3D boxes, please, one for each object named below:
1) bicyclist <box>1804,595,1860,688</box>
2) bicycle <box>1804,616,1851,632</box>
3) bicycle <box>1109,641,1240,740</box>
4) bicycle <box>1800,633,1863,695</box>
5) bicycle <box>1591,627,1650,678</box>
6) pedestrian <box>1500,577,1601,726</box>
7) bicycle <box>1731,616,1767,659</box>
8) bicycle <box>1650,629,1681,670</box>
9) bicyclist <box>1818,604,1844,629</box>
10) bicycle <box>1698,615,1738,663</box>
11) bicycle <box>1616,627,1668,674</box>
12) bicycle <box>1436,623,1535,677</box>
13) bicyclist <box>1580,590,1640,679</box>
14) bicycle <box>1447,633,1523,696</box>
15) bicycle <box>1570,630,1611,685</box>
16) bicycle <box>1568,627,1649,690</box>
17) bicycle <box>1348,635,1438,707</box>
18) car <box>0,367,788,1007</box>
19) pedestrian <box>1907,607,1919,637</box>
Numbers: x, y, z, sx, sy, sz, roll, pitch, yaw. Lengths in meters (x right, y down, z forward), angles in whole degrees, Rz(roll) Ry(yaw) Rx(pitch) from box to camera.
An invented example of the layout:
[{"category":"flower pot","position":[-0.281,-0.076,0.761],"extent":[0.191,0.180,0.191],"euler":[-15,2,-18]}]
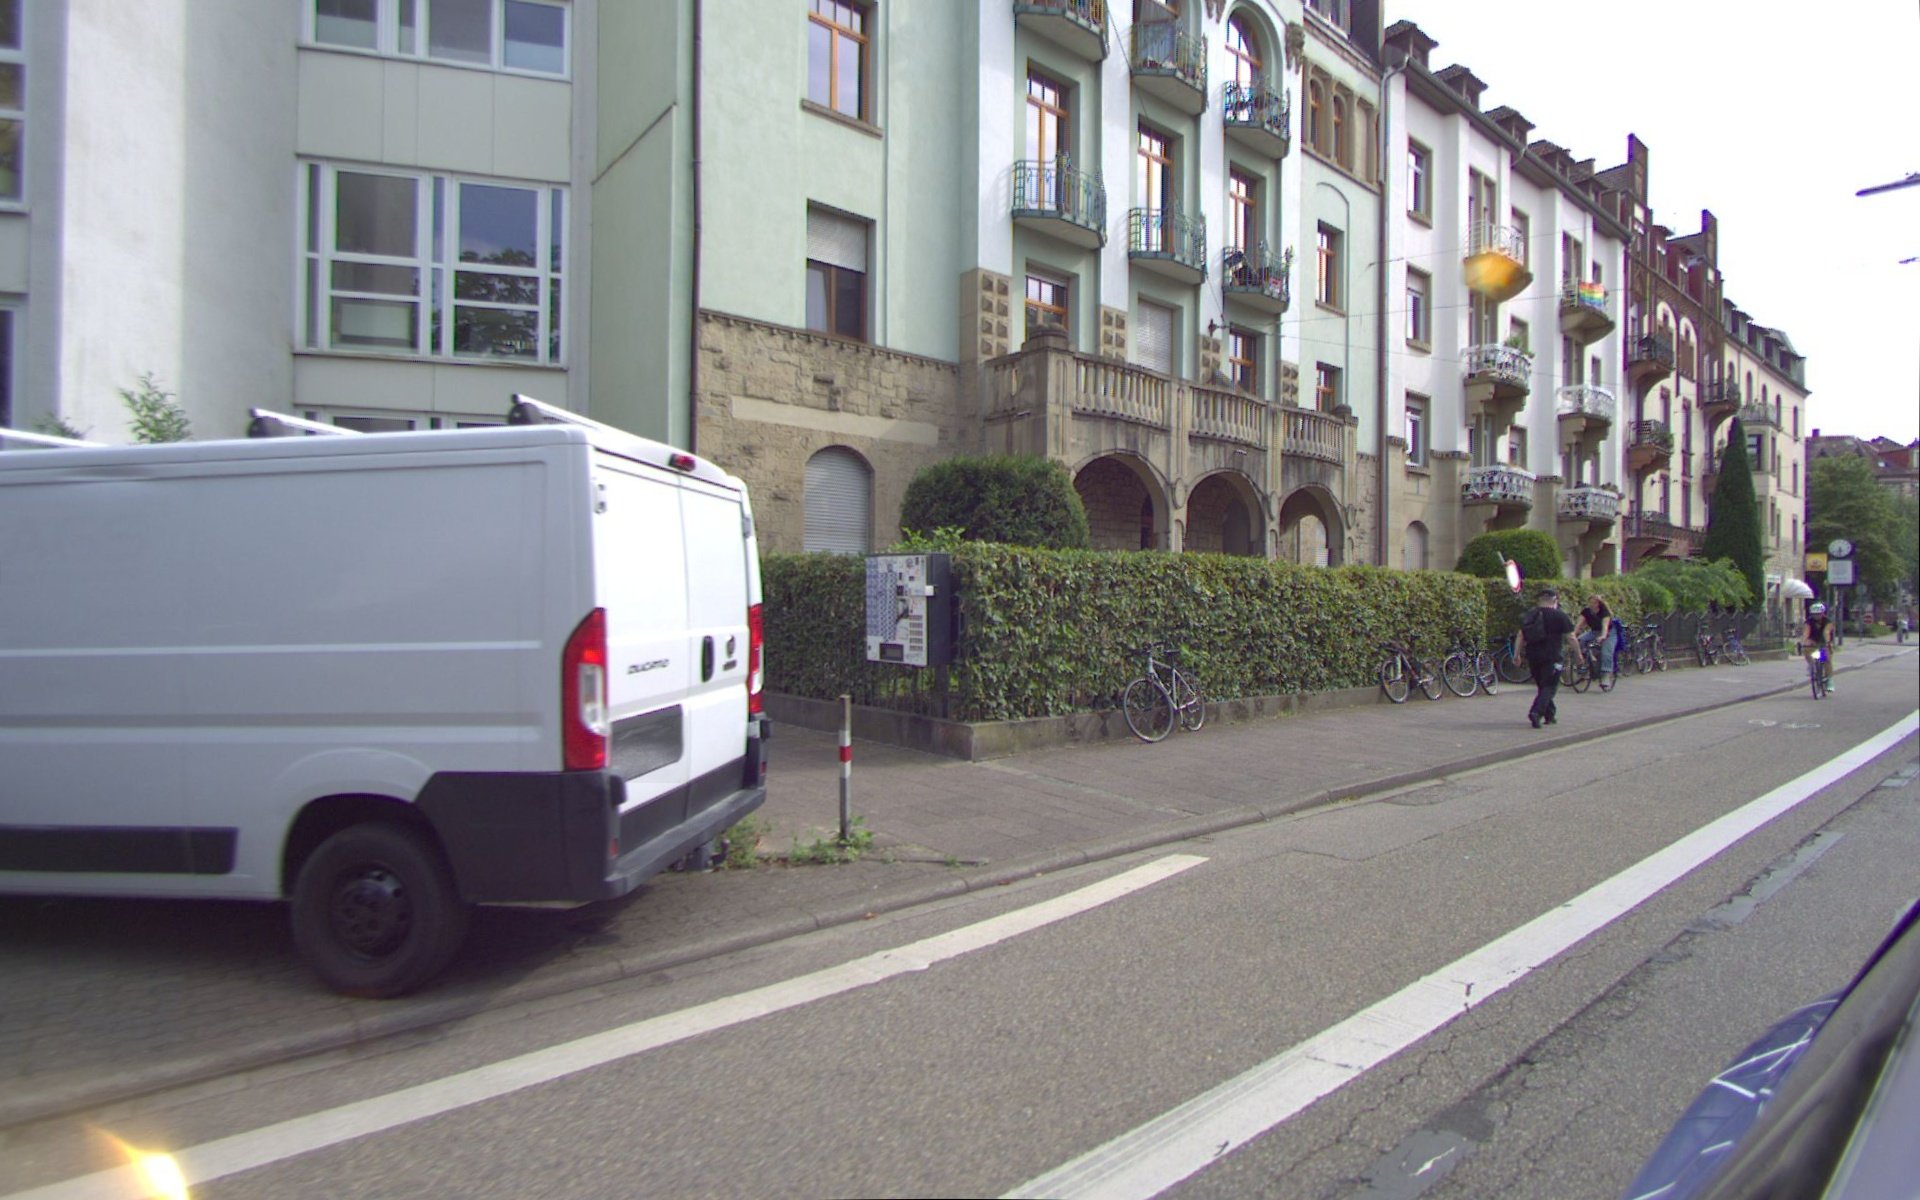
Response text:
[{"category":"bicyclist","position":[15.612,0.724,18.110],"extent":[1.092,1.590,0.639],"euler":[1,0,-43]},{"category":"bicycle","position":[61.420,1.702,71.678],"extent":[0.871,1.059,3.092],"euler":[1,0,5]},{"category":"bicycle","position":[2.332,0.935,10.862],"extent":[1.811,0.918,0.386],"euler":[0,1,-43]},{"category":"bicycle","position":[15.581,1.116,18.082],"extent":[2.036,0.993,0.639],"euler":[1,0,-43]},{"category":"bicycle","position":[13.205,1.031,20.218],"extent":[1.634,0.918,0.487],"euler":[0,1,-38]},{"category":"pedestrian","position":[7.350,0.608,12.605],"extent":[0.880,1.754,0.787],"euler":[1,1,-41]},{"category":"bicycle","position":[21.038,0.982,26.975],"extent":[1.728,1.116,0.392],"euler":[1,0,-41]},{"category":"bicycle","position":[15.786,1.097,22.639],"extent":[1.177,0.863,0.278],"euler":[0,1,-41]},{"category":"bicyclist","position":[61.424,1.180,71.392],"extent":[0.824,1.711,1.244],"euler":[1,-1,6]},{"category":"bicycle","position":[18.959,0.954,25.305],"extent":[1.887,1.156,0.392],"euler":[1,0,-41]},{"category":"bicycle","position":[14.466,1.053,21.443],"extent":[1.636,0.918,0.486],"euler":[0,1,-41]},{"category":"bicycle","position":[10.028,0.928,19.379],"extent":[0.477,0.918,1.666],"euler":[0,1,-32]},{"category":"bicyclist","position":[11.283,0.582,17.566],"extent":[0.787,1.488,0.648],"euler":[1,1,-43]},{"category":"bicycle","position":[8.426,1.017,16.219],"extent":[1.634,0.918,0.387],"euler":[0,1,-36]},{"category":"bicycle","position":[11.813,1.059,18.952],"extent":[0.484,0.918,1.642],"euler":[1,1,38]},{"category":"bicycle","position":[11.288,0.984,17.592],"extent":[2.002,0.974,0.689],"euler":[1,1,-43]},{"category":"bicycle","position":[6.158,0.989,14.353],"extent":[1.634,0.918,0.387],"euler":[0,1,-36]},{"category":"car","position":[-3.575,0.326,5.163],"extent":[4.874,2.319,2.380],"euler":[0,-1,7]},{"category":"pedestrian","position":[55.153,1.283,58.312],"extent":[0.747,1.680,0.720],"euler":[1,3,-44]}]
